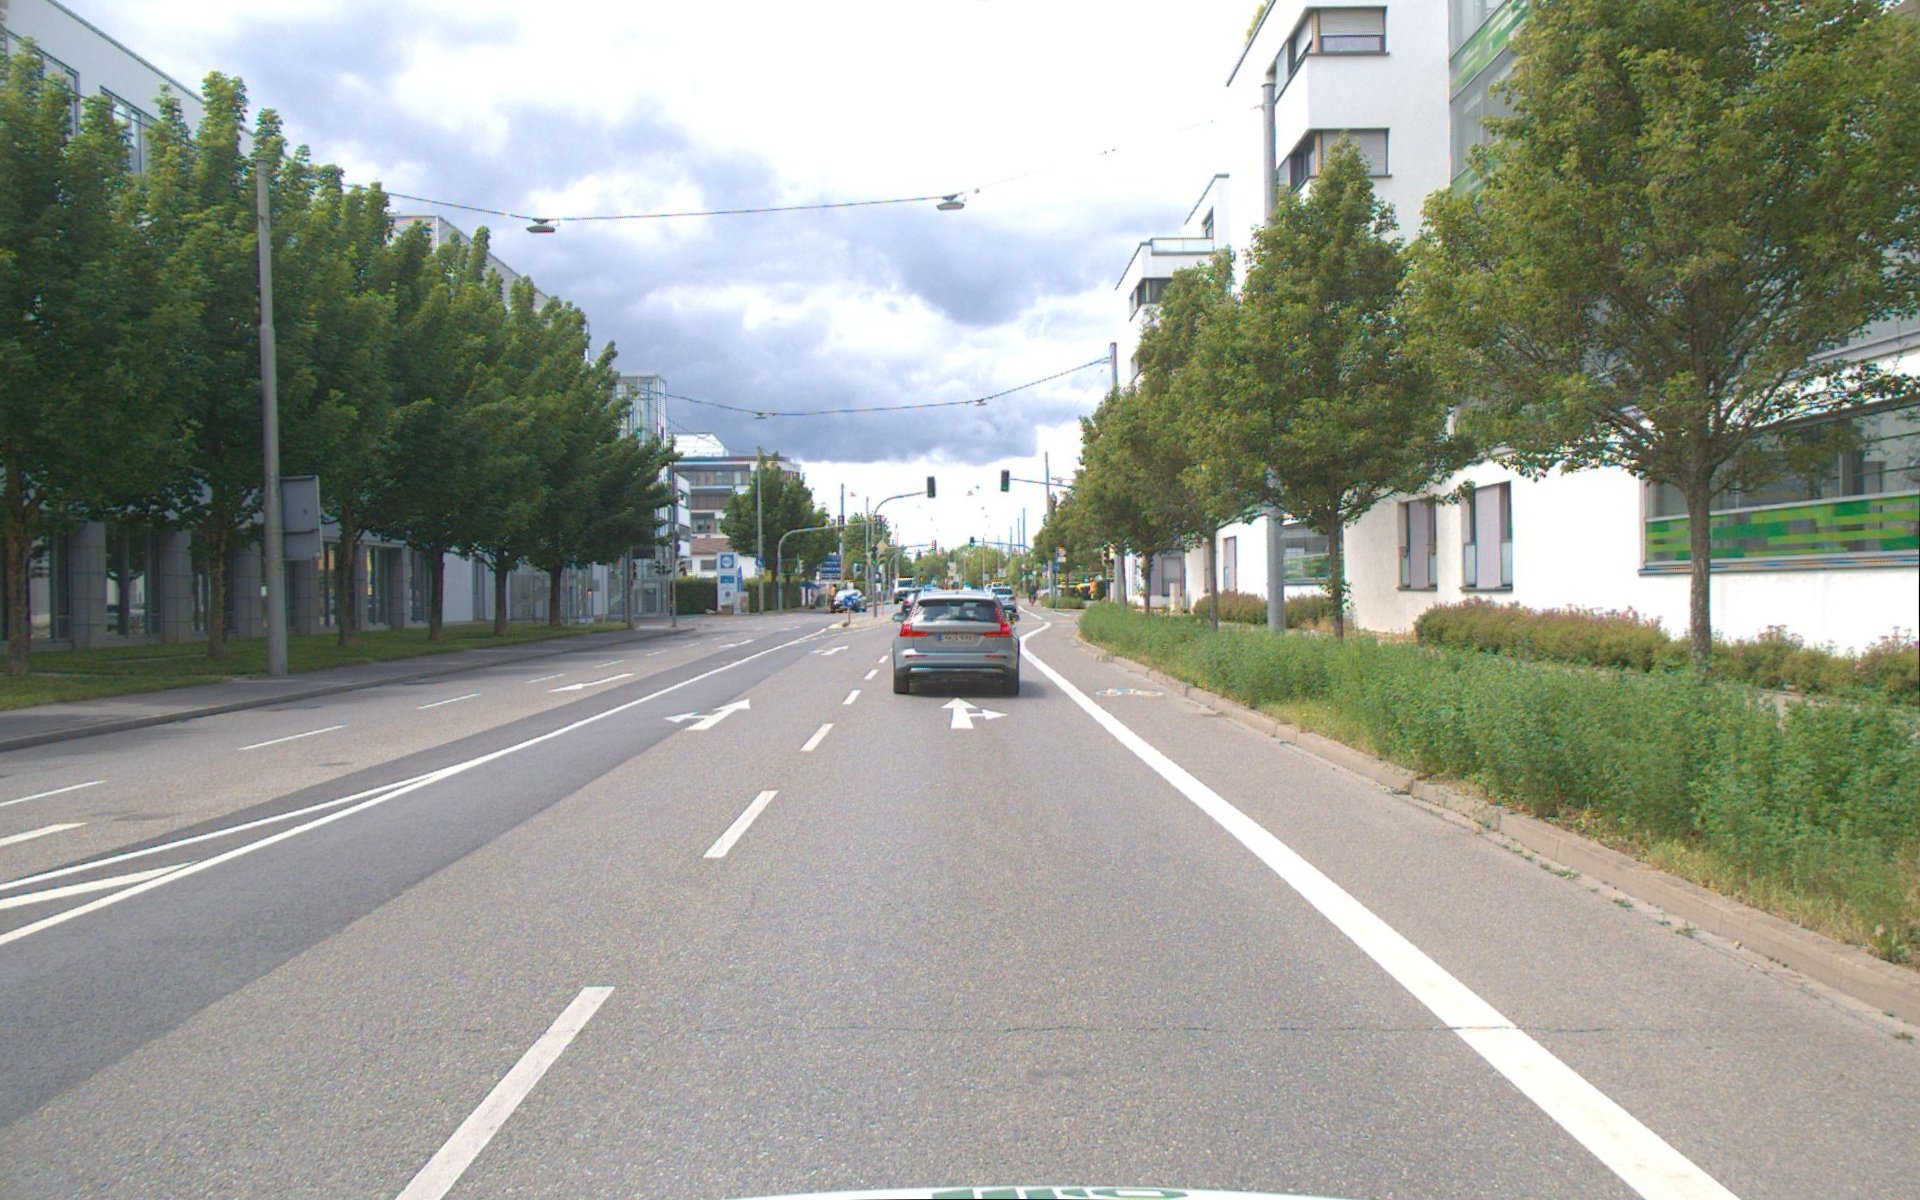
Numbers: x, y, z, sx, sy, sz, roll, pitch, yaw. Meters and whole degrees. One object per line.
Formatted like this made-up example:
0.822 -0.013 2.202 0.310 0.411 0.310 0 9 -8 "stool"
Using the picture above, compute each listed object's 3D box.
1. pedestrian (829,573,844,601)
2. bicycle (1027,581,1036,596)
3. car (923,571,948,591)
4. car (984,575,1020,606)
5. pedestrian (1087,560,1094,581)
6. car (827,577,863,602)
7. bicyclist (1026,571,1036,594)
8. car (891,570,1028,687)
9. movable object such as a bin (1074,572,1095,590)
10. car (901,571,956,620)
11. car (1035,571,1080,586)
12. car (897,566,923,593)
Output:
-9.169 -0.984 122.499 0.714 2.049 0.805 1 0 43 "pedestrian"
5.433 -0.893 125.714 0.625 1.081 1.978 -4 1 1 "bicycle"
-2.181 -1.660 146.512 1.846 1.579 4.542 -2 0 3 "car"
2.411 -0.531 95.979 1.953 1.724 4.000 1 0 0 "car"
11.075 -2.498 140.632 0.496 1.796 0.501 1 0 17 "pedestrian"
-7.561 -0.690 109.109 1.983 1.470 5.049 -3 0 -1 "car"
5.400 -1.305 125.883 0.625 1.704 0.890 -4 1 1 "bicyclist"
0.076 0.392 24.807 1.856 1.581 4.001 1 0 2 "car"
10.748 -1.638 142.581 1.298 1.460 1.246 -1 -1 38 "movable object such as a bin"
-1.170 -0.163 61.759 1.953 1.747 3.999 1 0 -1 "car"
10.077 -2.196 171.335 4.600 1.519 2.046 0 1 0 "car"
-4.952 -2.066 163.782 2.098 2.514 6.074 -3 1 2 "car"
